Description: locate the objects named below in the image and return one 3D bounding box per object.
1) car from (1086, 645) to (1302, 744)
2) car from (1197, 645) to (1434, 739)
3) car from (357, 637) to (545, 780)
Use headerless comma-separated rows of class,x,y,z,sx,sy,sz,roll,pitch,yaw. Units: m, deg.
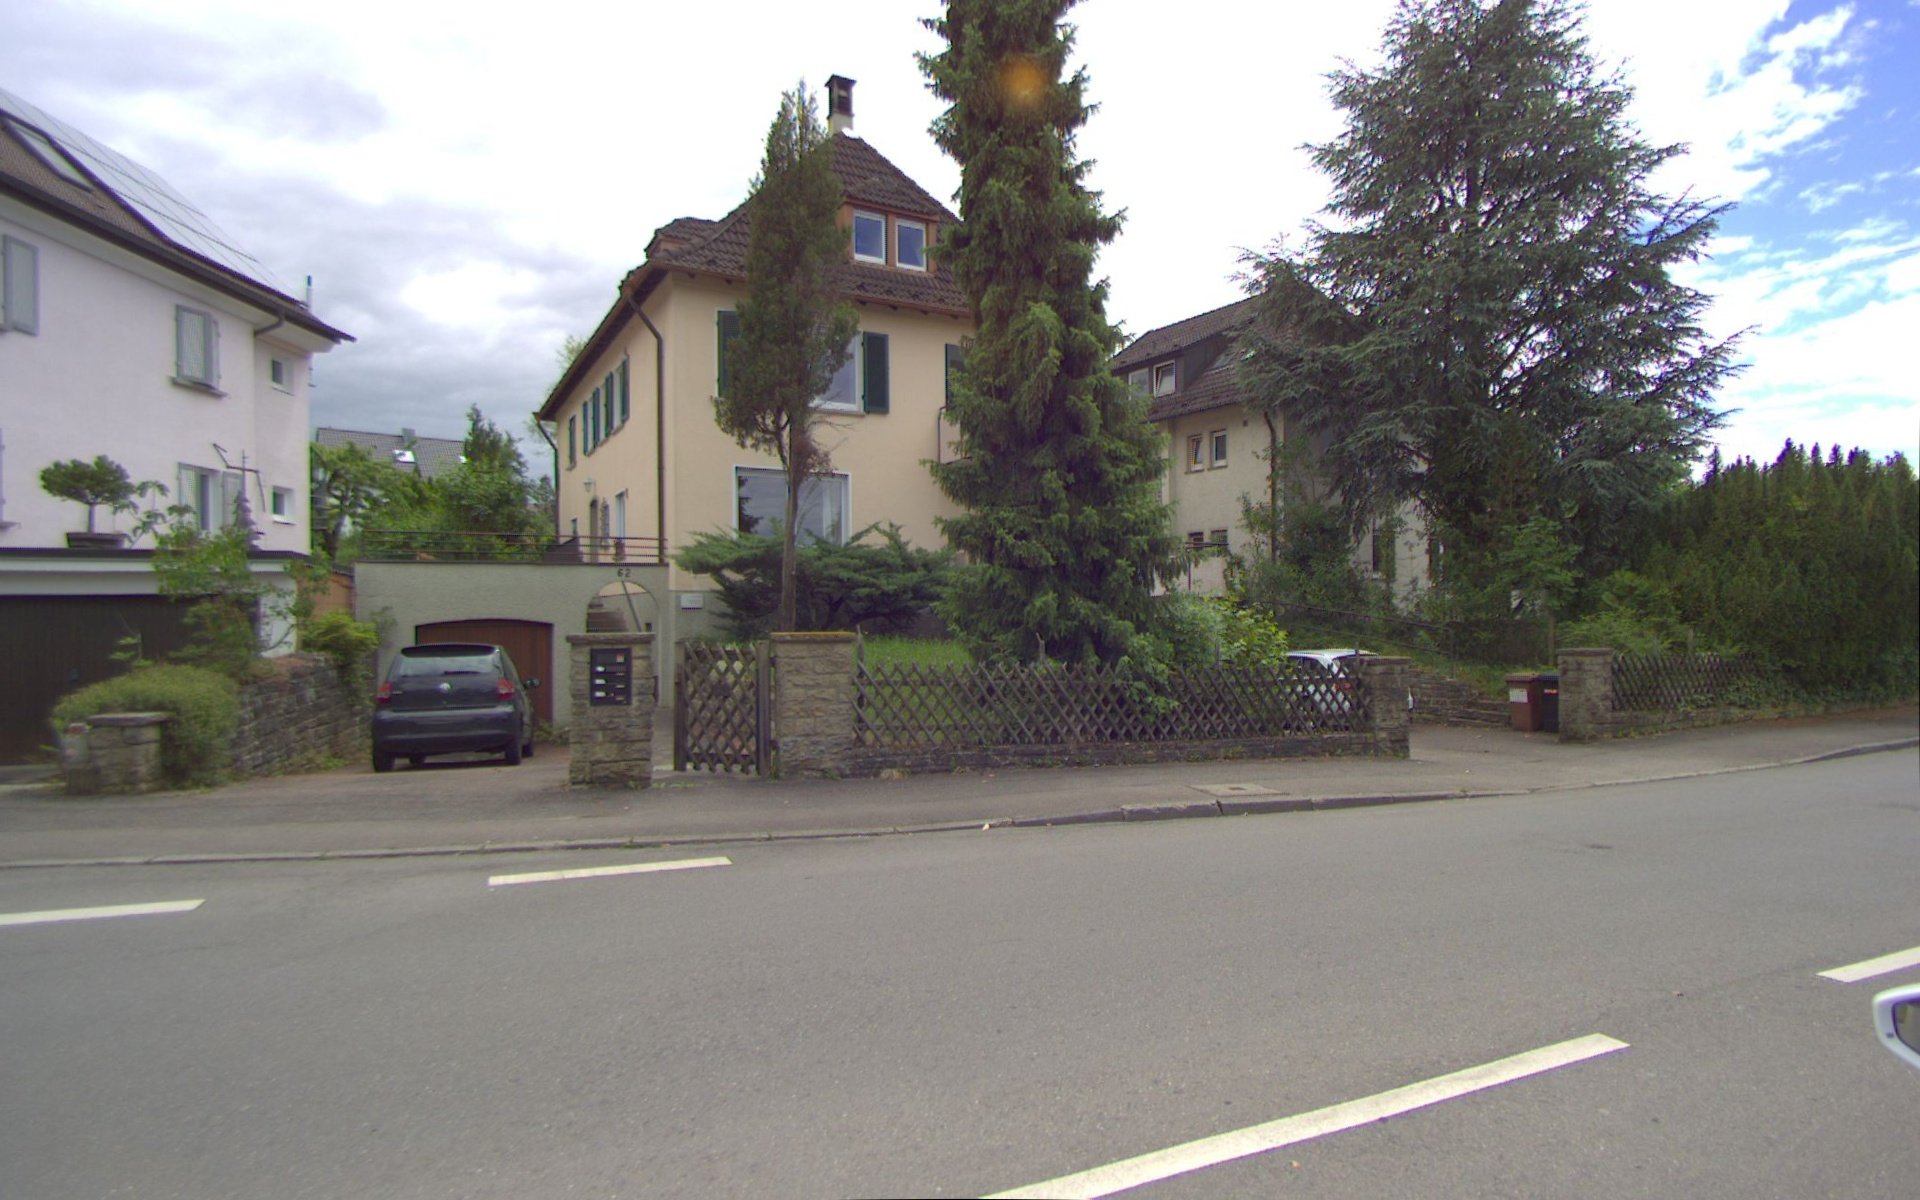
car,3.886,1.585,17.250,1.804,1.438,3.545,-1,-4,-24
car,6.318,1.638,18.339,1.895,1.438,3.871,-1,-4,-24
car,-6.504,1.407,13.185,1.801,1.556,3.353,-1,-6,-20
